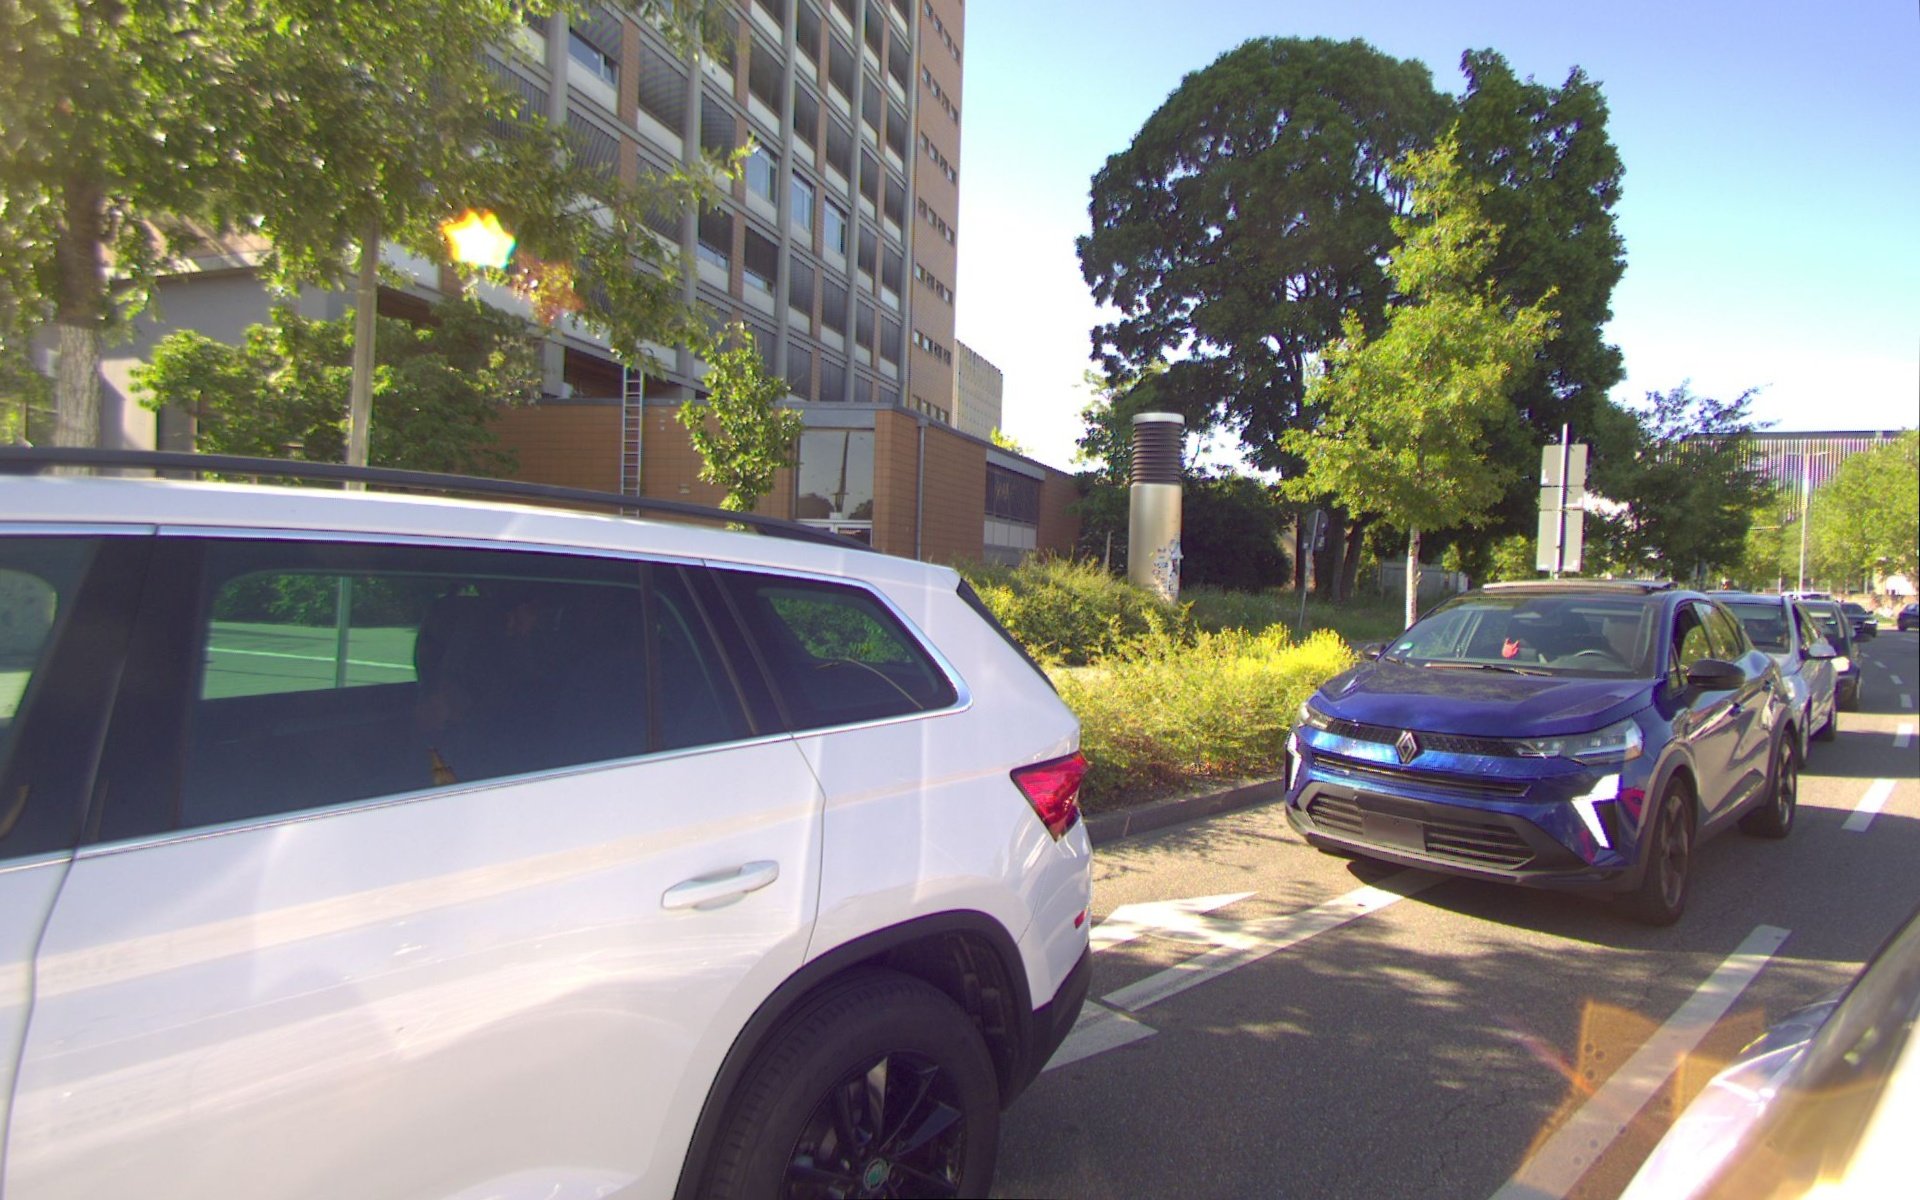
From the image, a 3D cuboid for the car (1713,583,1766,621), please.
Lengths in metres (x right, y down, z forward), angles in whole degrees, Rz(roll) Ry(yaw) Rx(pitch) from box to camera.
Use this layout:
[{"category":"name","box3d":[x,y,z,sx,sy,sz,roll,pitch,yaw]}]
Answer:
[{"category":"car","box3d":[41.280,0.073,53.653,1.815,1.876,3.708,2,1,33]}]

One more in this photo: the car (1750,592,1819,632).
[{"category":"car","box3d":[32.663,0.441,40.182,1.740,1.494,3.532,0,1,33]}]

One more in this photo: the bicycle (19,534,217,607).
[{"category":"bicycle","box3d":[-17.305,-0.591,20.948,0.790,1.394,3.111,2,1,26]}]

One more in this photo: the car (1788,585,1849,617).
[{"category":"car","box3d":[56.159,0.037,66.255,1.767,2.039,4.201,1,1,22]}]

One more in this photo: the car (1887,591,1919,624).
[{"category":"car","box3d":[48.359,0.396,50.572,1.572,1.625,3.061,2,1,12]}]

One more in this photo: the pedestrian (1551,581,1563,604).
[{"category":"pedestrian","box3d":[51.566,-0.638,87.444,0.814,1.941,0.765,0,0,27]}]

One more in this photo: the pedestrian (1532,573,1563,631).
[{"category":"pedestrian","box3d":[16.939,0.053,29.194,0.688,1.624,0.653,2,1,35]}]

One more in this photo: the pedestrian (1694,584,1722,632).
[{"category":"pedestrian","box3d":[26.138,0.266,35.388,0.656,1.624,0.686,2,1,29]}]

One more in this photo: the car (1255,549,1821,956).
[{"category":"car","box3d":[3.624,0.595,6.013,4.013,1.626,1.704,0,1,-41]}]

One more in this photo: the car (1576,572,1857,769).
[{"category":"car","box3d":[8.070,0.586,10.657,3.977,1.645,1.782,0,2,-45]}]

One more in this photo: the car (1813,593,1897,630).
[{"category":"car","box3d":[38.795,0.456,43.962,1.865,1.500,3.959,1,1,29]}]

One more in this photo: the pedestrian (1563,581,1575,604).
[{"category":"pedestrian","box3d":[52.331,-0.634,87.011,0.814,1.941,0.765,0,0,27]}]

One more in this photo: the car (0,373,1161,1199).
[{"category":"car","box3d":[-1.662,0.564,1.634,4.223,1.662,1.697,0,2,-42]}]

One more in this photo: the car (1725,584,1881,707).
[{"category":"car","box3d":[13.108,0.611,15.674,1.646,1.631,3.435,3,2,43]}]
